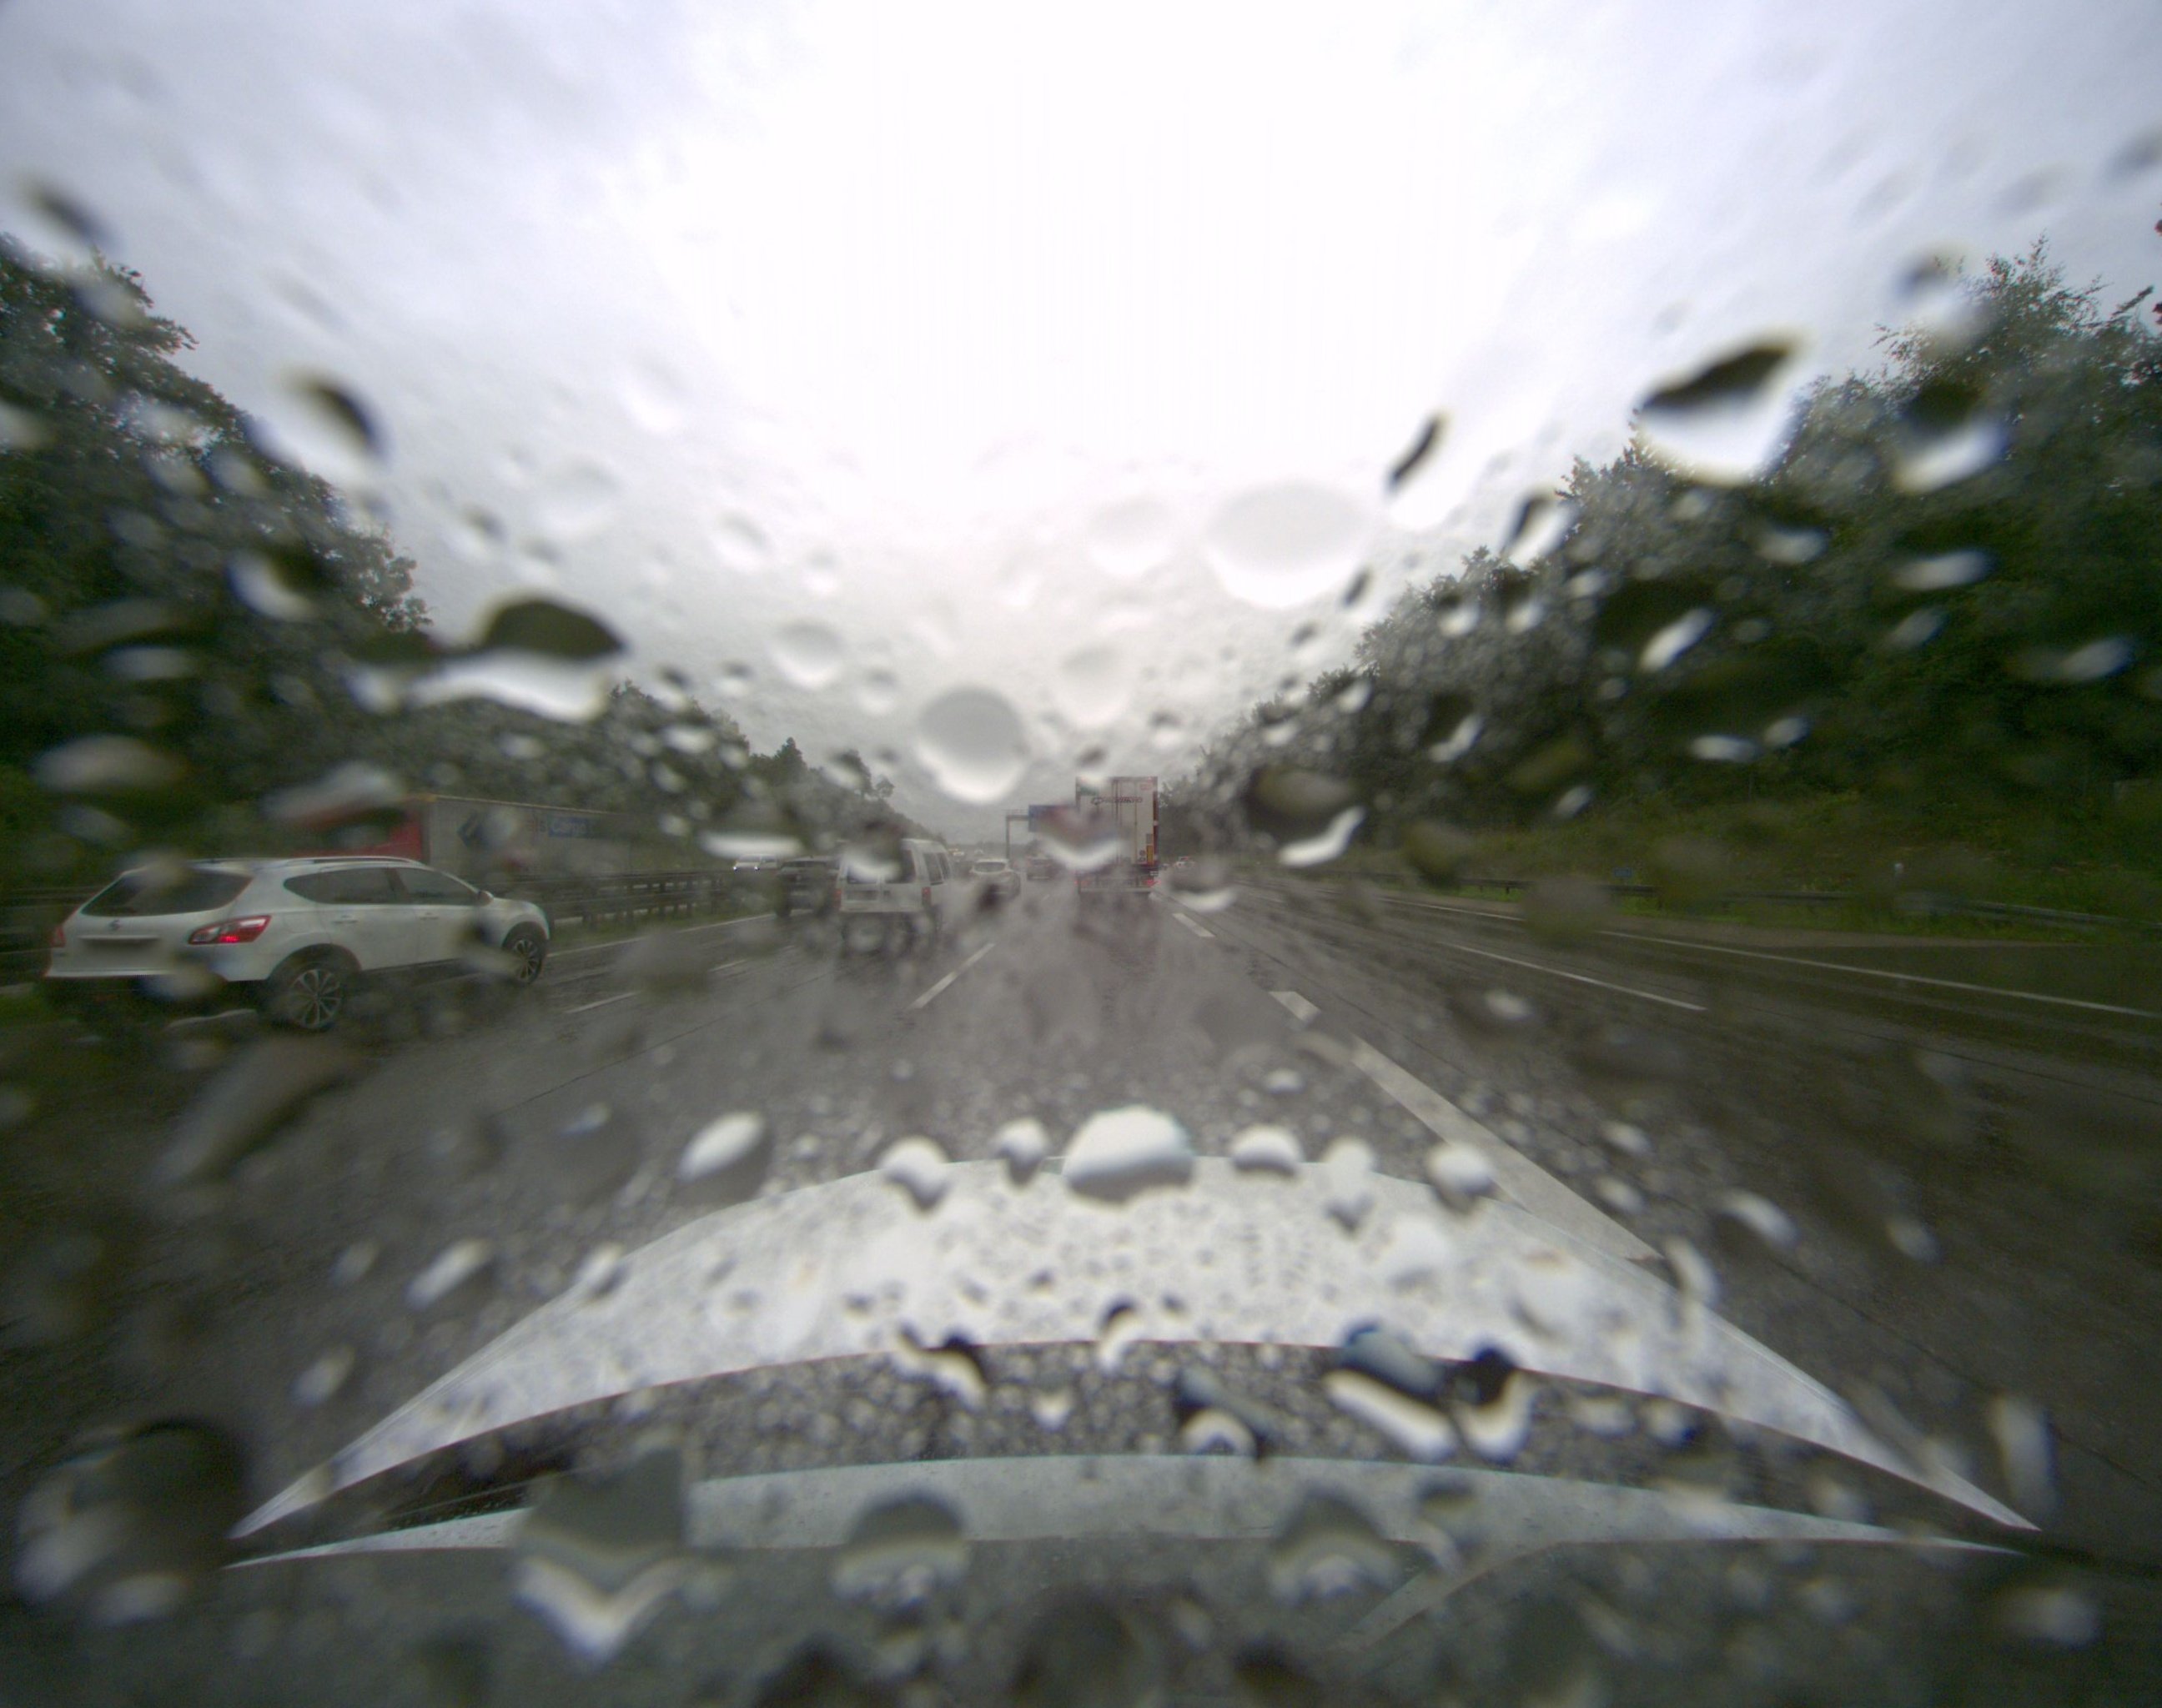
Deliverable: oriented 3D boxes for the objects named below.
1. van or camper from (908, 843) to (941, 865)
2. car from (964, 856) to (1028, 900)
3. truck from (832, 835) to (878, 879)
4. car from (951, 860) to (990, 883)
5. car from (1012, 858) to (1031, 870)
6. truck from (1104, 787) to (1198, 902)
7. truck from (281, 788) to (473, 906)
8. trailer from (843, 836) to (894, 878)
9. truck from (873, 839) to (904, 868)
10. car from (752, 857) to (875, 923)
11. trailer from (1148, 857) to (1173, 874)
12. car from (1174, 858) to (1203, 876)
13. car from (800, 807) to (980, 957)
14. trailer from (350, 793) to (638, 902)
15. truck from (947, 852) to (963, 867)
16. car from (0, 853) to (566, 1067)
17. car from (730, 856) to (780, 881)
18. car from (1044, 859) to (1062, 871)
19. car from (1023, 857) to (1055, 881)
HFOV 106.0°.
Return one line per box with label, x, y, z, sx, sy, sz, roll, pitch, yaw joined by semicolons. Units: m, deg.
van or camper;-21.970;0.014;114.899;2.832;2.978;8.787;-1;0;1
car;-3.291;0.911;32.208;1.837;1.591;4.076;0;0;4
truck;-21.486;0.326;77.726;2.368;3.954;6.538;-2;0;1
car;-7.021;1.087;52.328;1.839;1.330;4.466;0;0;0
car;-6.839;1.154;94.543;1.839;1.330;4.466;0;0;0
truck;2.484;-0.262;31.033;2.860;3.562;11.310;0;0;3
truck;-25.823;-0.233;30.199;2.694;3.954;4.892;-2;0;1
trailer;-21.380;0.306;82.419;2.368;3.954;9.424;-2;0;1
truck;-26.334;-0.113;111.631;2.695;3.818;6.264;-1;0;1
car;-7.306;0.911;22.718;1.839;1.591;4.468;0;0;1
trailer;8.759;1.229;89.983;2.236;1.714;5.082;0;0;0
car;8.925;1.047;67.898;1.785;1.407;4.227;0;0;0
car;-3.597;0.468;16.512;2.204;2.573;5.019;0;0;3
trailer;-25.676;-0.210;37.312;2.710;3.954;13.963;-2;0;1
truck;-30.156;1.252;195.260;2.513;3.483;11.708;0;0;-2
car;-7.703;0.807;8.429;1.839;1.591;4.467;0;0;1
car;-24.934;1.051;62.463;1.989;1.770;5.034;-2;0;-3
car;-3.225;1.248;93.242;1.839;1.330;4.466;0;0;0
car;-2.820;0.994;55.851;1.839;1.591;4.468;0;0;1
